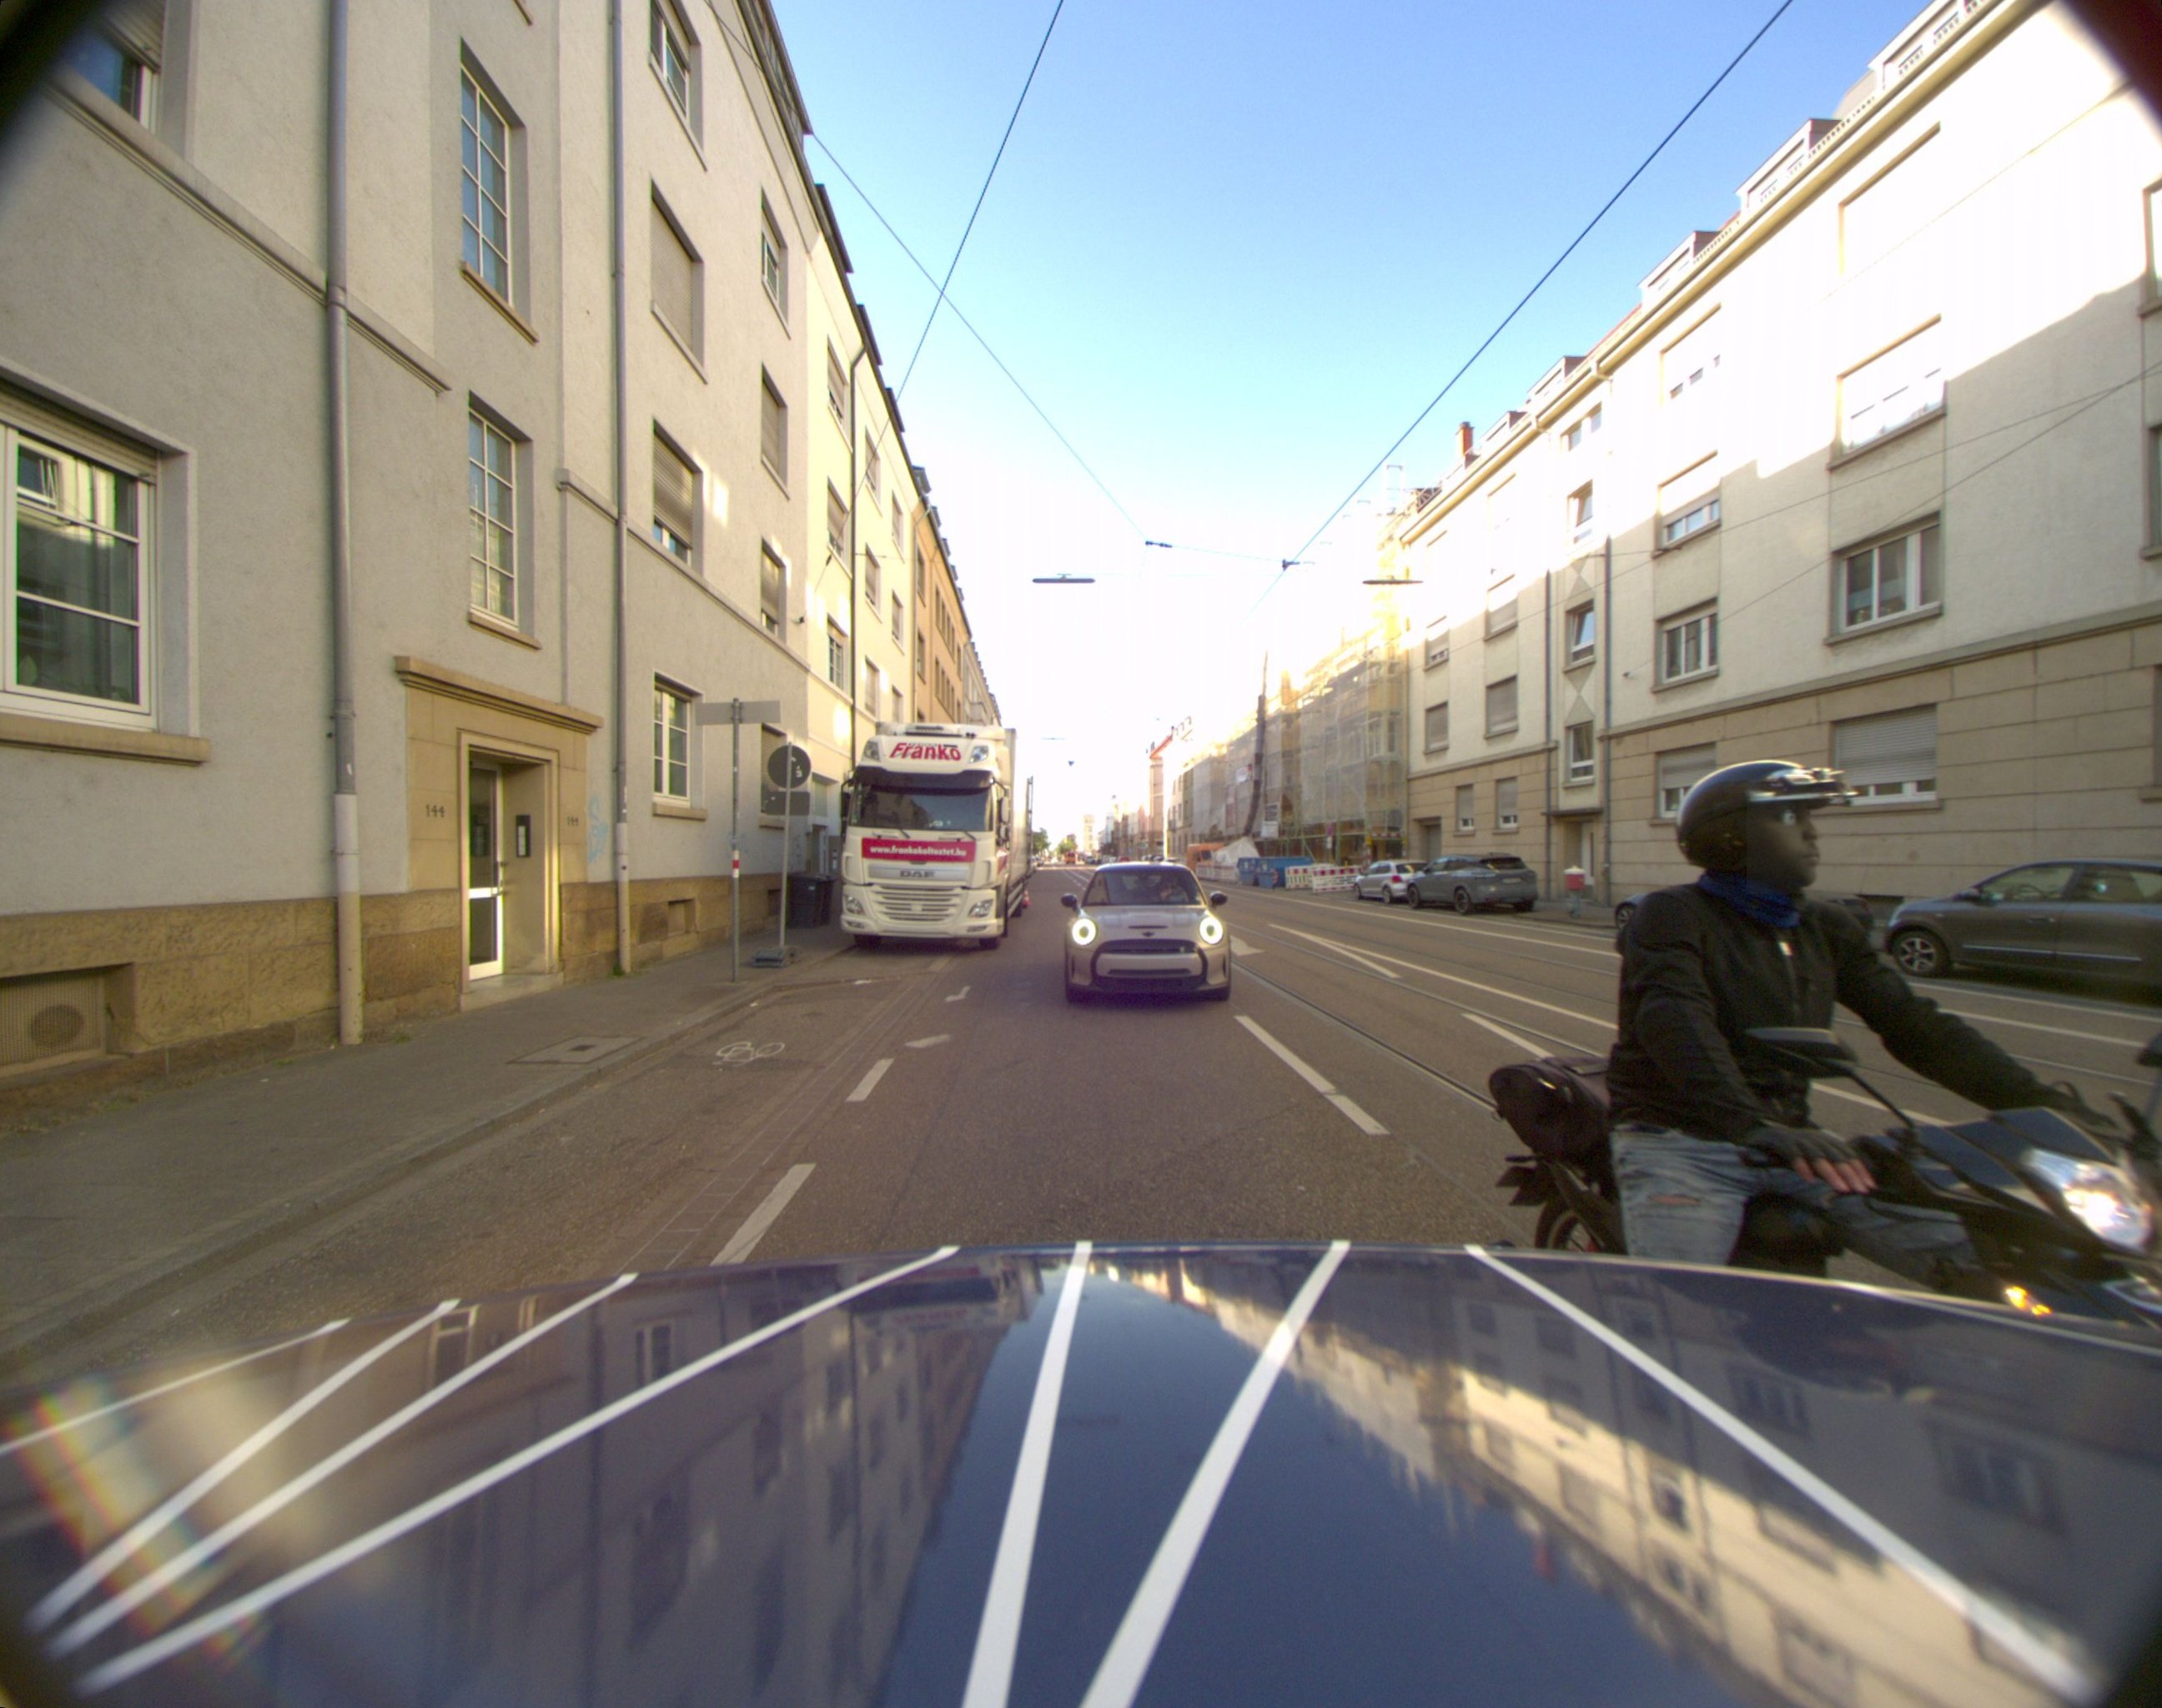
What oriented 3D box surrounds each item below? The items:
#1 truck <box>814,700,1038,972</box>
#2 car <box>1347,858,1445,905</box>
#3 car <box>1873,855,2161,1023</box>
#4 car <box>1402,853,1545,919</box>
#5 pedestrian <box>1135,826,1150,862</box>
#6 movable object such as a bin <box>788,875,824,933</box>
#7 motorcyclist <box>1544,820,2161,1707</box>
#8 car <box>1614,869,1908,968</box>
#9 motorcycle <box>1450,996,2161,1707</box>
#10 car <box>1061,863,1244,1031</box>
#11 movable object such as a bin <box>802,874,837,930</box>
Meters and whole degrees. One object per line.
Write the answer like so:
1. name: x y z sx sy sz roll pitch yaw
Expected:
1. truck: -2.620 -0.257 17.153 2.899 3.939 11.704 -2 0 -2
2. car: 10.626 0.870 25.926 1.637 1.383 3.643 -2 1 -3
3. car: 11.382 0.843 8.330 1.670 1.563 3.496 -2 1 -2
4. car: 10.814 0.813 21.315 1.712 1.582 4.112 -2 1 -3
5. pedestrian: 7.651 -1.288 94.327 1.723 4.377 1.153 -2 1 2
6. movable object such as a bin: -5.419 0.984 14.985 0.512 1.085 0.495 -2 1 -4
7. motorcyclist: 1.472 0.704 1.382 0.862 1.496 0.598 -2 1 1
8. car: 11.245 0.983 12.920 1.751 1.269 3.488 -2 1 -4
9. motorcycle: 1.431 1.070 1.393 0.538 1.212 1.981 -2 1 1
10. car: 0.660 0.885 9.020 1.692 1.495 4.000 0 0 0
11. movable object such as a bin: -5.348 0.972 15.566 0.512 1.085 0.495 -2 1 -4
